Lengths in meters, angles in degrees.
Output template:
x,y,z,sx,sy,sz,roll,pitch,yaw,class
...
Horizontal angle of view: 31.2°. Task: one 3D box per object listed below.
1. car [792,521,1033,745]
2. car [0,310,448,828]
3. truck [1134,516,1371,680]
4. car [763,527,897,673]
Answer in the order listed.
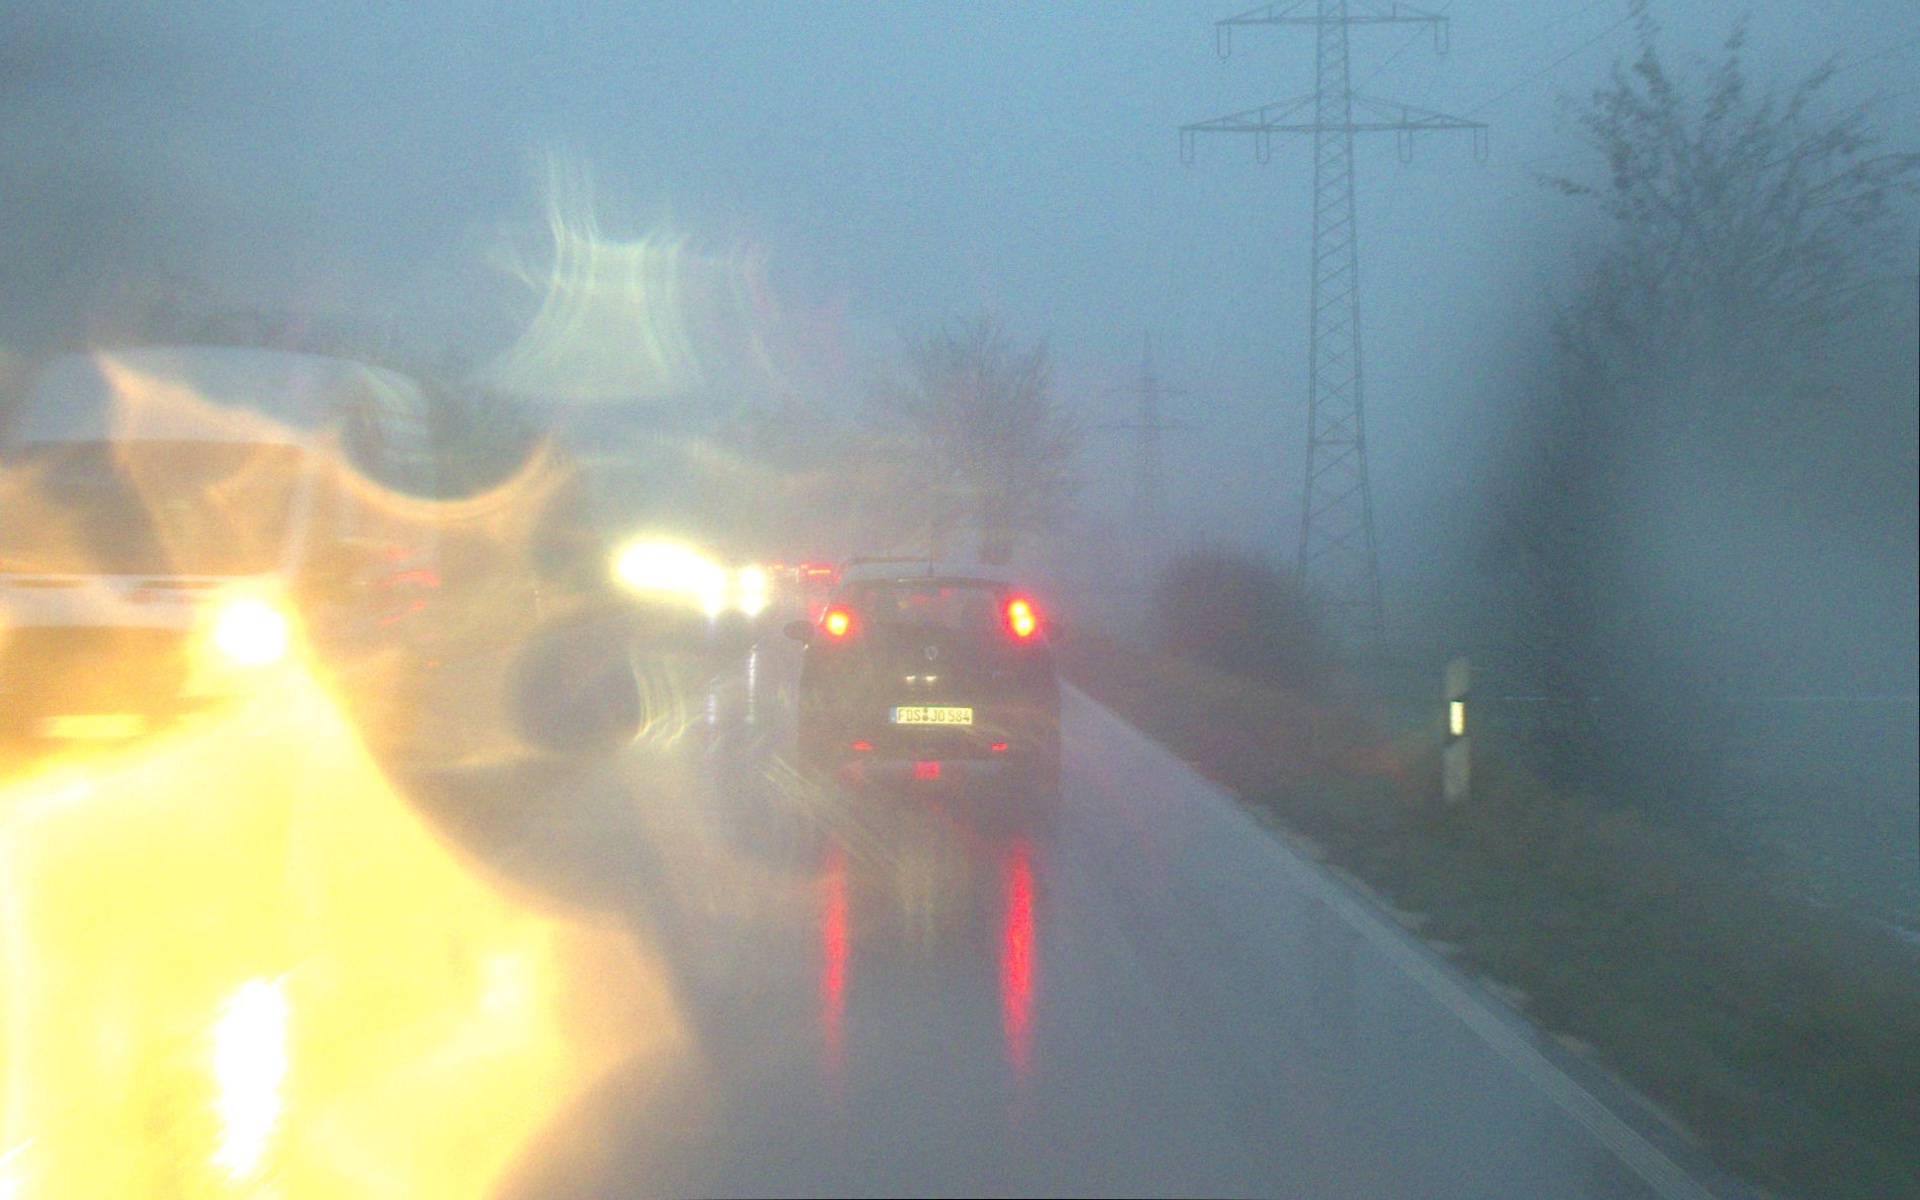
x,y,z,sx,sy,sz,roll,pitch,yaw,class
-0.345,0.191,23.273,1.500,1.393,3.200,1,1,-2,car
-4.521,-0.219,20.927,1.953,2.665,6.272,1,1,-1,car
4.906,-0.083,59.792,2.503,2.562,10.807,1,1,-4,truck
-1.877,-0.019,50.111,1.852,2.007,4.000,1,1,-2,car
